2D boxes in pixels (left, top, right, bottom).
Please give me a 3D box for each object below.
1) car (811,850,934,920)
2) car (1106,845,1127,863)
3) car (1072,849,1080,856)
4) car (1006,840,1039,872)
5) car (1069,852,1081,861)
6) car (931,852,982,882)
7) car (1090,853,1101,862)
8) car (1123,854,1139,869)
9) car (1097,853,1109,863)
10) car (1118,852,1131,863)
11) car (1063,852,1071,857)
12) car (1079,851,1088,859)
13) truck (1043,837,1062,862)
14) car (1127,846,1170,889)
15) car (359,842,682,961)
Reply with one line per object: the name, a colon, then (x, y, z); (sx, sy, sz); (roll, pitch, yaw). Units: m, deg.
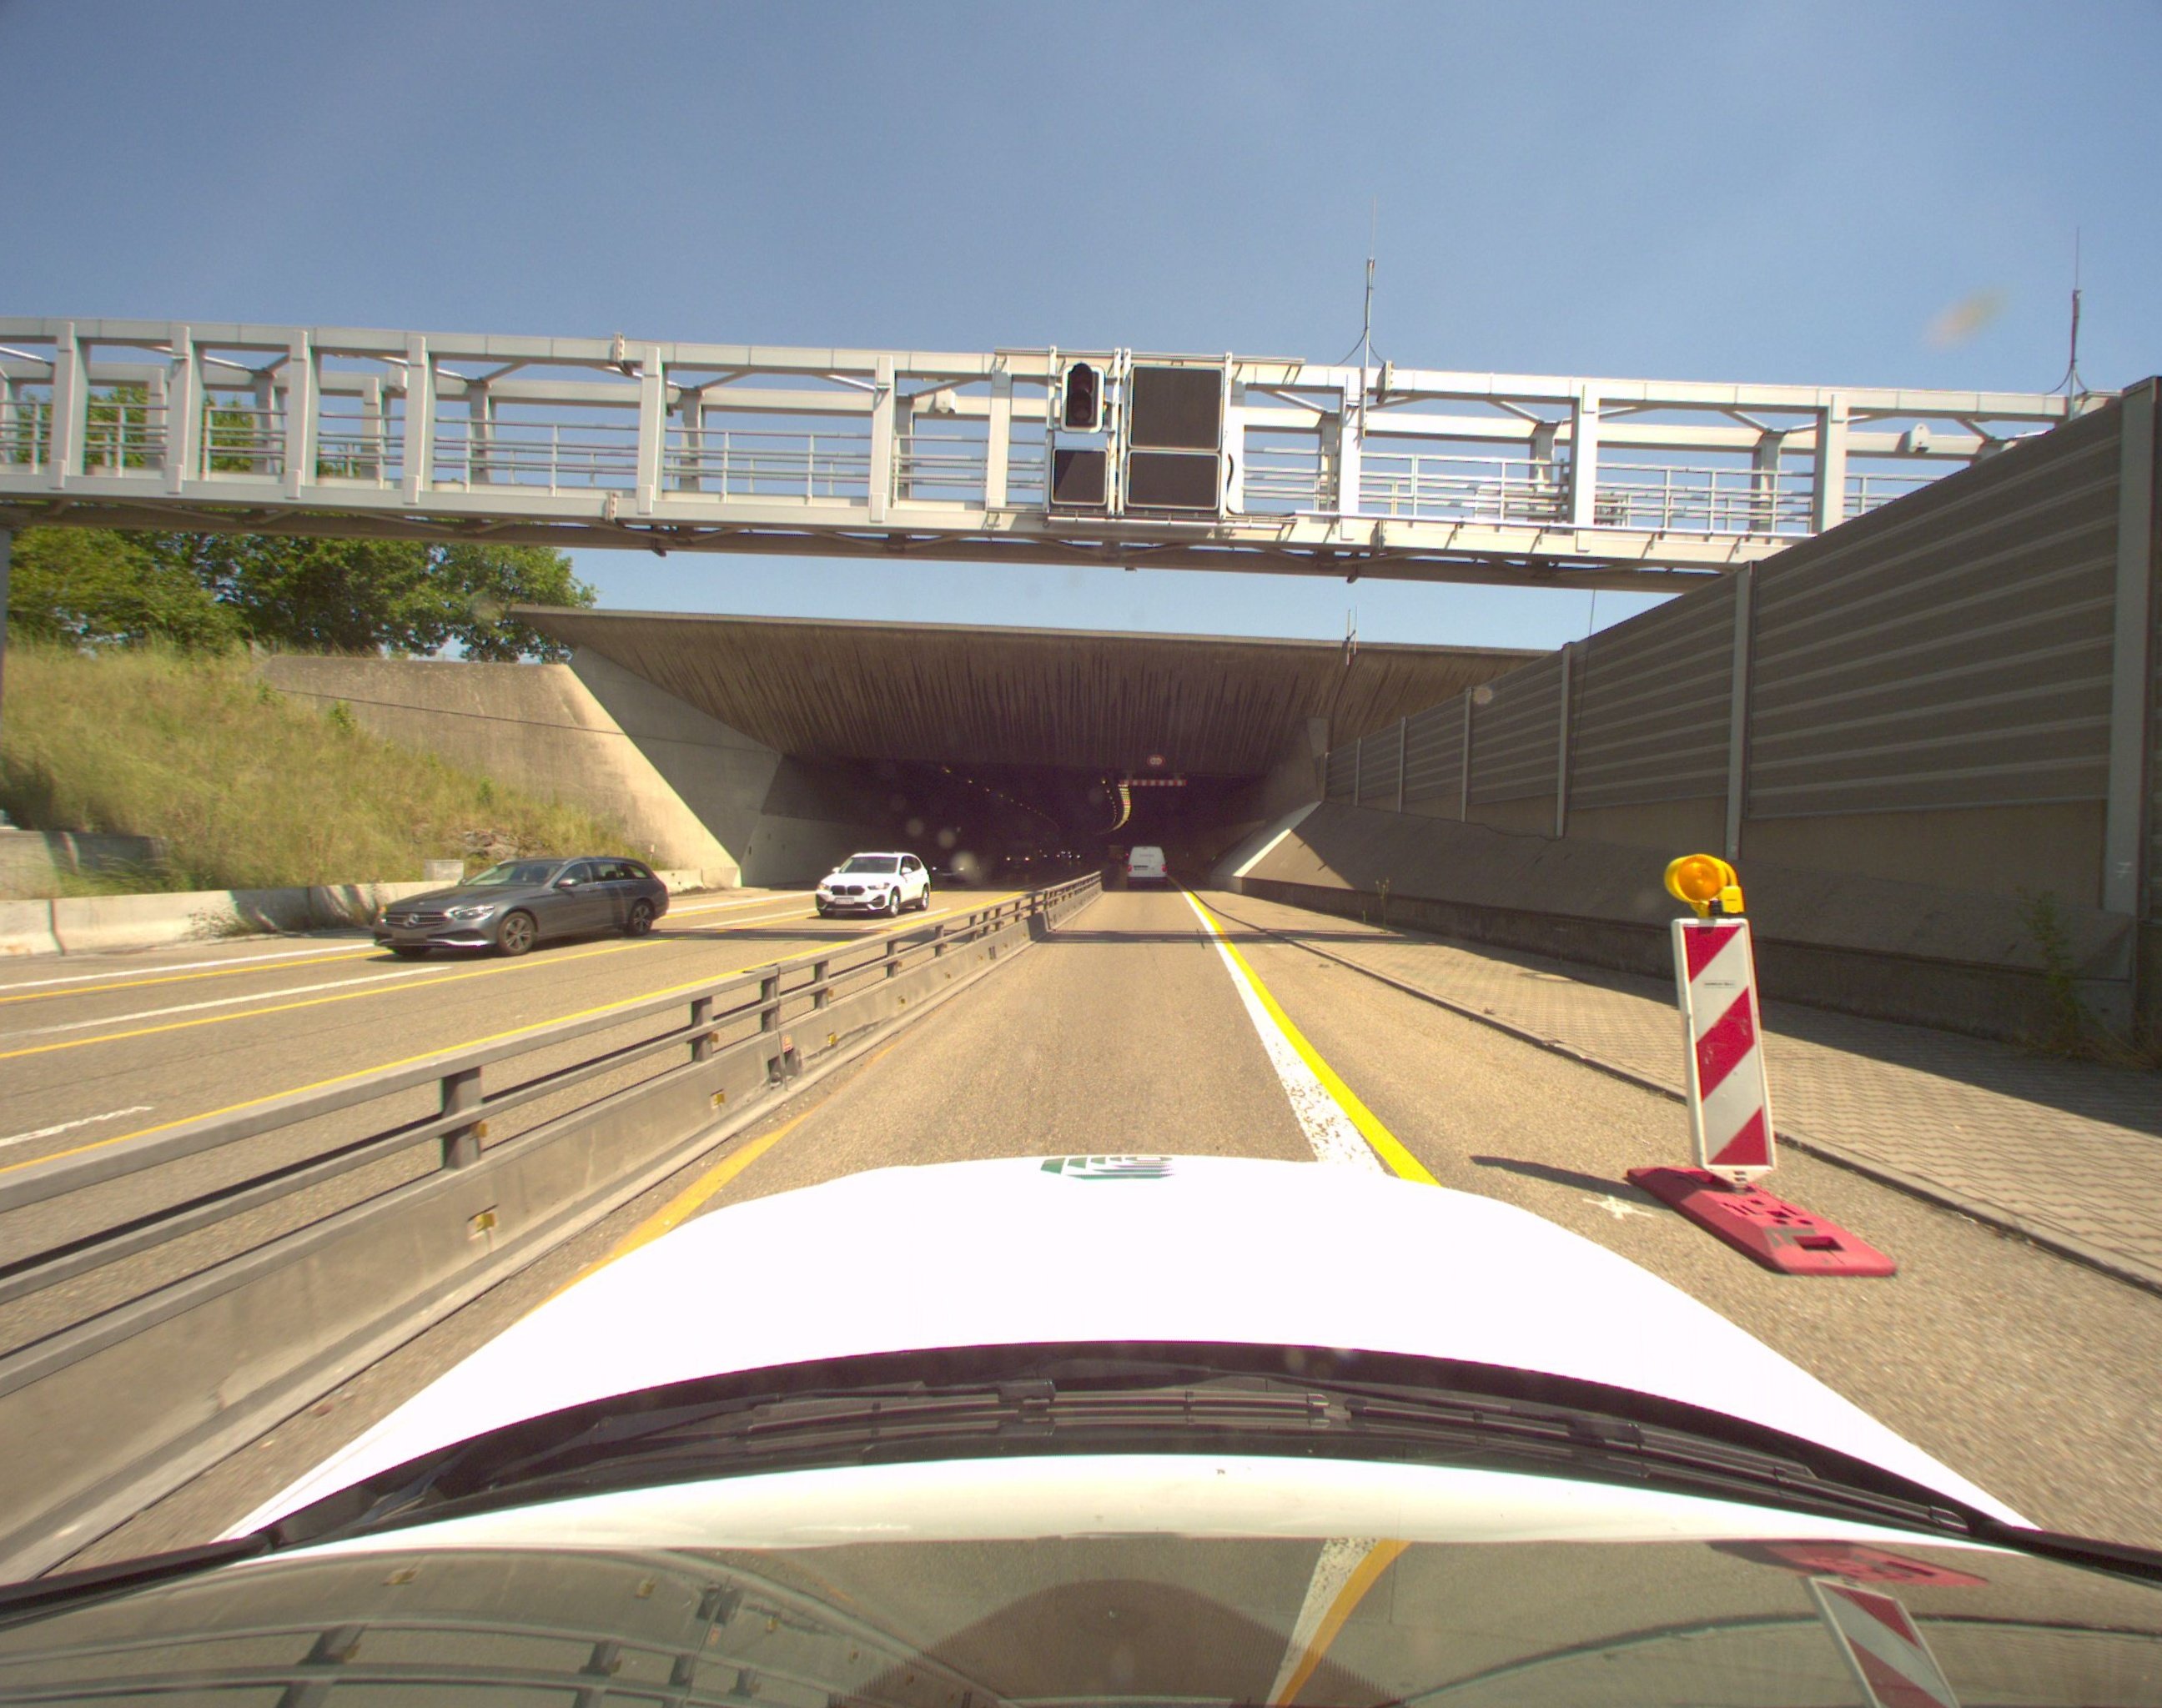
car: (-5.188, 0.706, 20.952); (1.766, 1.577, 4.450); (-1, 0, 3)
car: (5.613, -0.038, 131.517); (2.806, 2.773, 7.096); (1, 0, -2)
car: (-1.474, -0.334, 239.809); (2.070, 2.021, 4.653); (0, 0, -5)
car: (-4.717, 0.150, 66.521); (1.986, 2.515, 6.045); (-1, 0, 2)
car: (-0.967, 0.468, 132.588); (1.816, 1.456, 4.091); (0, 0, -1)
car: (-6.511, 0.642, 42.895); (1.766, 1.515, 4.567); (-1, 0, 3)
car: (3.269, 0.840, 183.375); (1.937, 2.021, 4.653); (0, 0, -5)
car: (5.458, 0.803, 89.128); (1.593, 1.546, 3.678); (0, 0, 1)
car: (4.556, 0.780, 167.777); (2.031, 2.021, 4.626); (4, 0, -3)
car: (5.997, 0.508, 112.185); (1.594, 1.546, 3.675); (0, 0, -1)
car: (-3.977, 0.150, 224.303); (1.819, 1.456, 4.084); (0, 0, -6)
car: (0.767, 0.281, 215.707); (1.937, 2.021, 4.653); (0, 0, -5)
truck: (-4.430, -0.748, 129.296); (2.801, 3.915, 6.454); (0, 0, 0)
car: (2.974, 0.591, 36.433); (1.801, 1.794, 3.734); (2, -1, 3)
car: (-9.086, 0.657, 13.856); (1.764, 1.666, 4.816); (-1, 0, 7)
